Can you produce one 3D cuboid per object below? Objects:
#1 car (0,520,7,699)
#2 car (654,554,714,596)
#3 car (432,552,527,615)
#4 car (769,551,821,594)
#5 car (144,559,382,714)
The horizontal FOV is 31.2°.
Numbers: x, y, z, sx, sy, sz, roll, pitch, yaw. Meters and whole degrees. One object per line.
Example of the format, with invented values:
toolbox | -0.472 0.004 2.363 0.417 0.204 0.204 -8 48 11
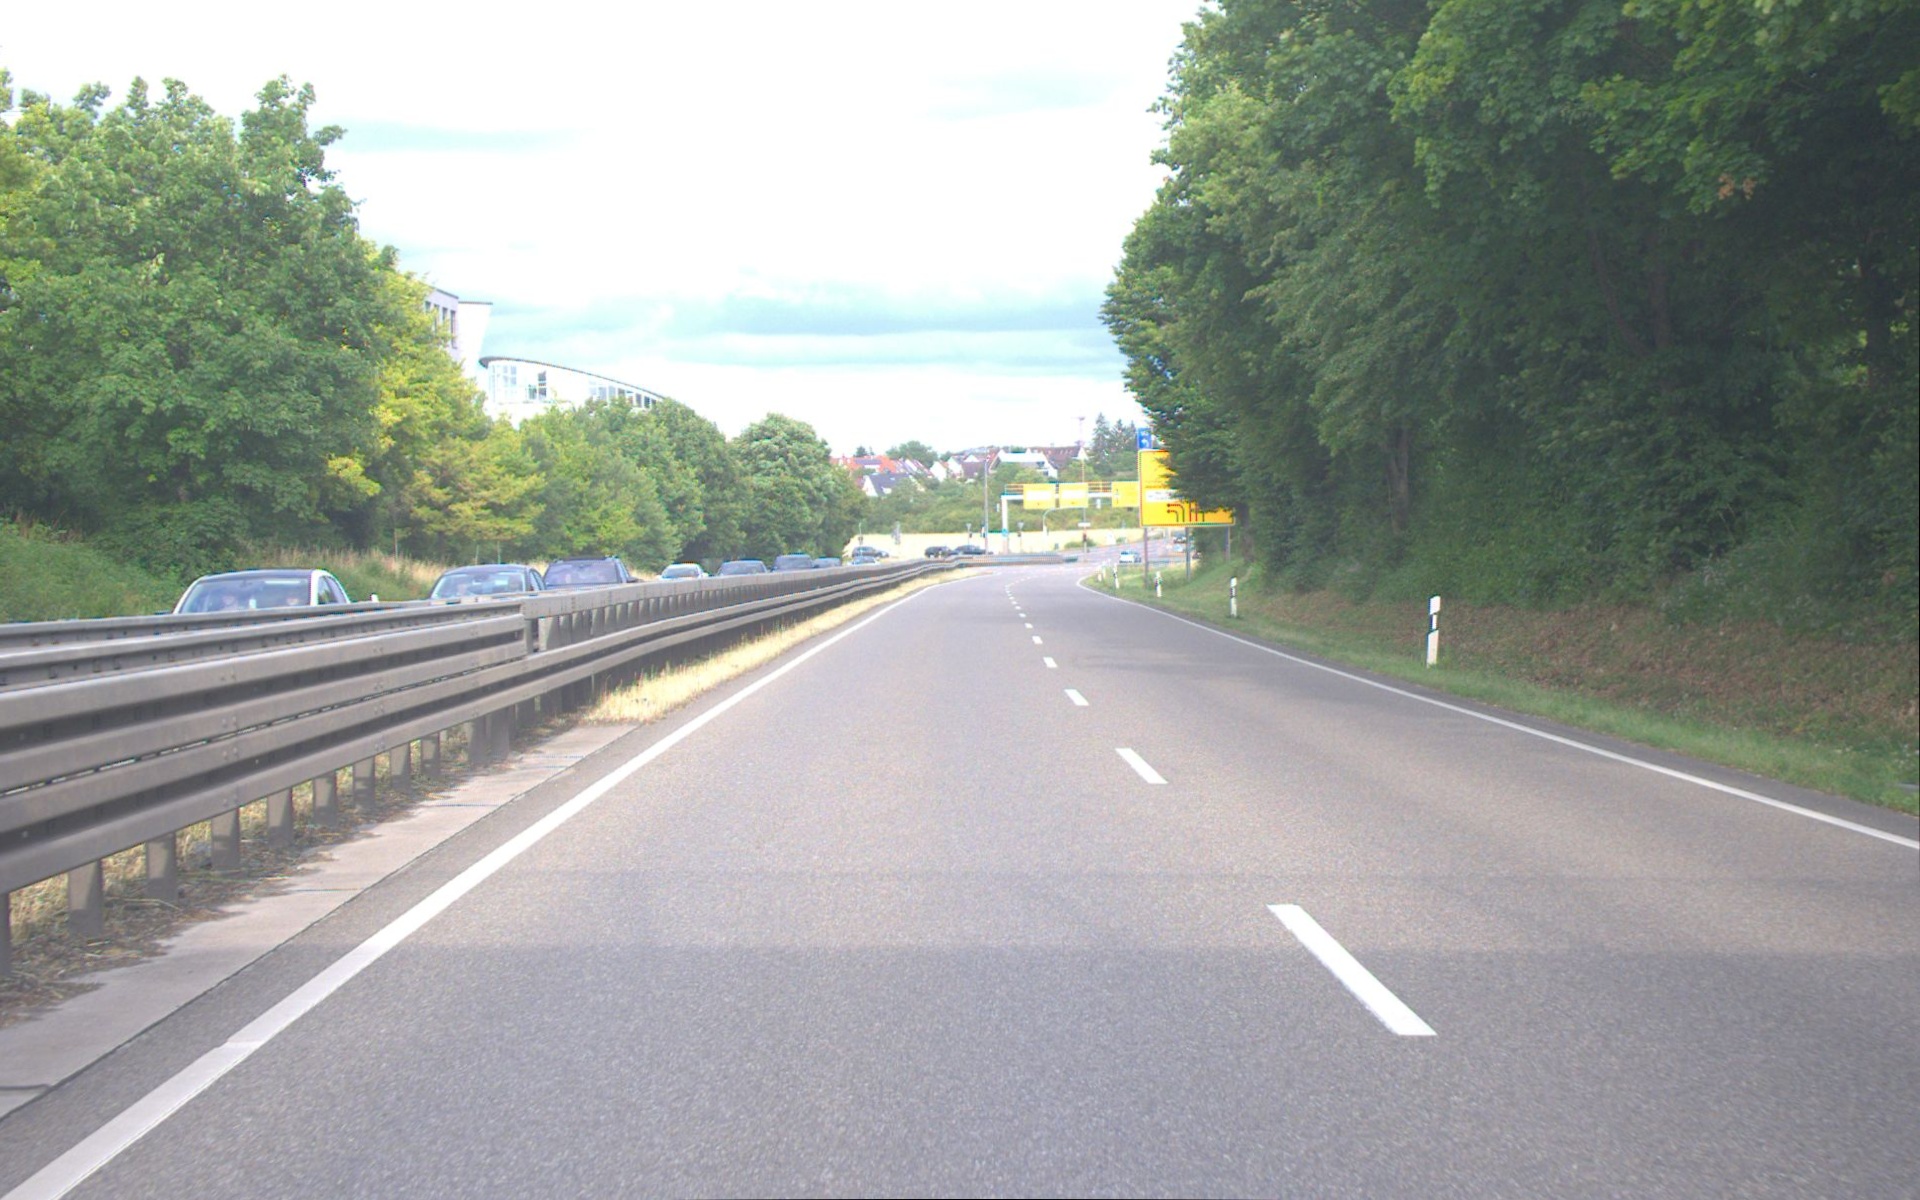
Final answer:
car | -10.882 0.139 33.393 1.868 1.849 4.623 -1 1 1
car | -10.336 -0.948 129.163 1.817 1.480 4.417 2 1 0
car | -10.718 -0.393 76.876 1.776 1.349 4.001 0 1 -3
car | -6.548 -1.102 136.855 1.743 1.639 5.279 -1 1 0
car | -7.092 0.337 35.288 1.682 1.481 3.646 -1 1 0
